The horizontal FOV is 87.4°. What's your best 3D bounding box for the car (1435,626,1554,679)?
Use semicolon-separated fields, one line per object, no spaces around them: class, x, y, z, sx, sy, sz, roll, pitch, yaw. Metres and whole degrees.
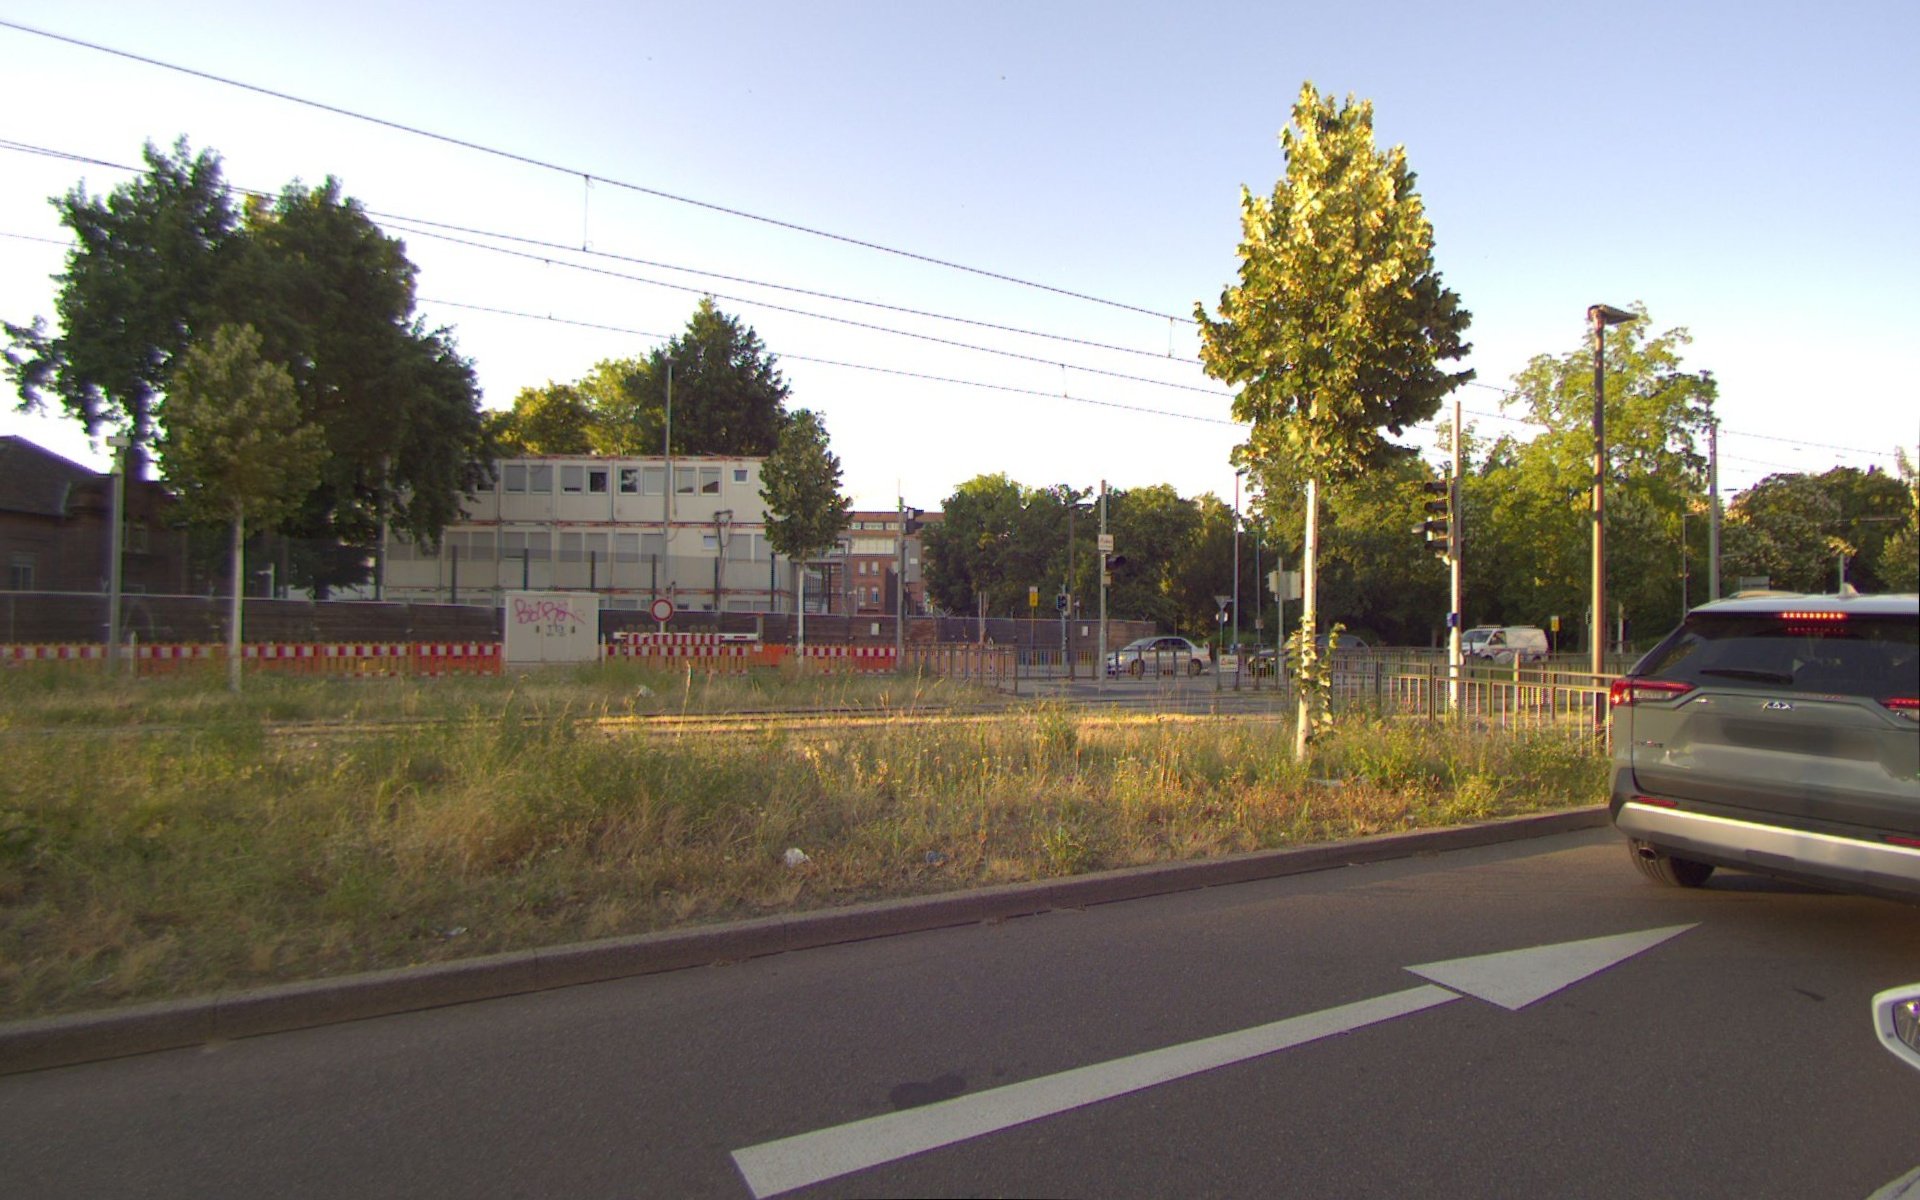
car;23.433;2.254;44.060;4.678;2.197;1.991;0;0;-20

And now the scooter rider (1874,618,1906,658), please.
scooter rider;35.608;1.451;38.451;0.810;1.534;0.650;-1;-2;37

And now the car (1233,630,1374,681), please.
car;11.454;1.793;33.483;4.466;1.501;1.985;0;0;-28

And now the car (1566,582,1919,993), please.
car;5.472;0.774;5.632;4.220;1.681;1.845;0;0;-32

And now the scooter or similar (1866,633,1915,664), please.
scooter or similar;35.582;1.849;38.420;1.312;1.168;0.511;-1;-2;38

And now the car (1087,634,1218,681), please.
car;7.031;2.046;36.659;4.465;1.501;1.985;0;0;-28
